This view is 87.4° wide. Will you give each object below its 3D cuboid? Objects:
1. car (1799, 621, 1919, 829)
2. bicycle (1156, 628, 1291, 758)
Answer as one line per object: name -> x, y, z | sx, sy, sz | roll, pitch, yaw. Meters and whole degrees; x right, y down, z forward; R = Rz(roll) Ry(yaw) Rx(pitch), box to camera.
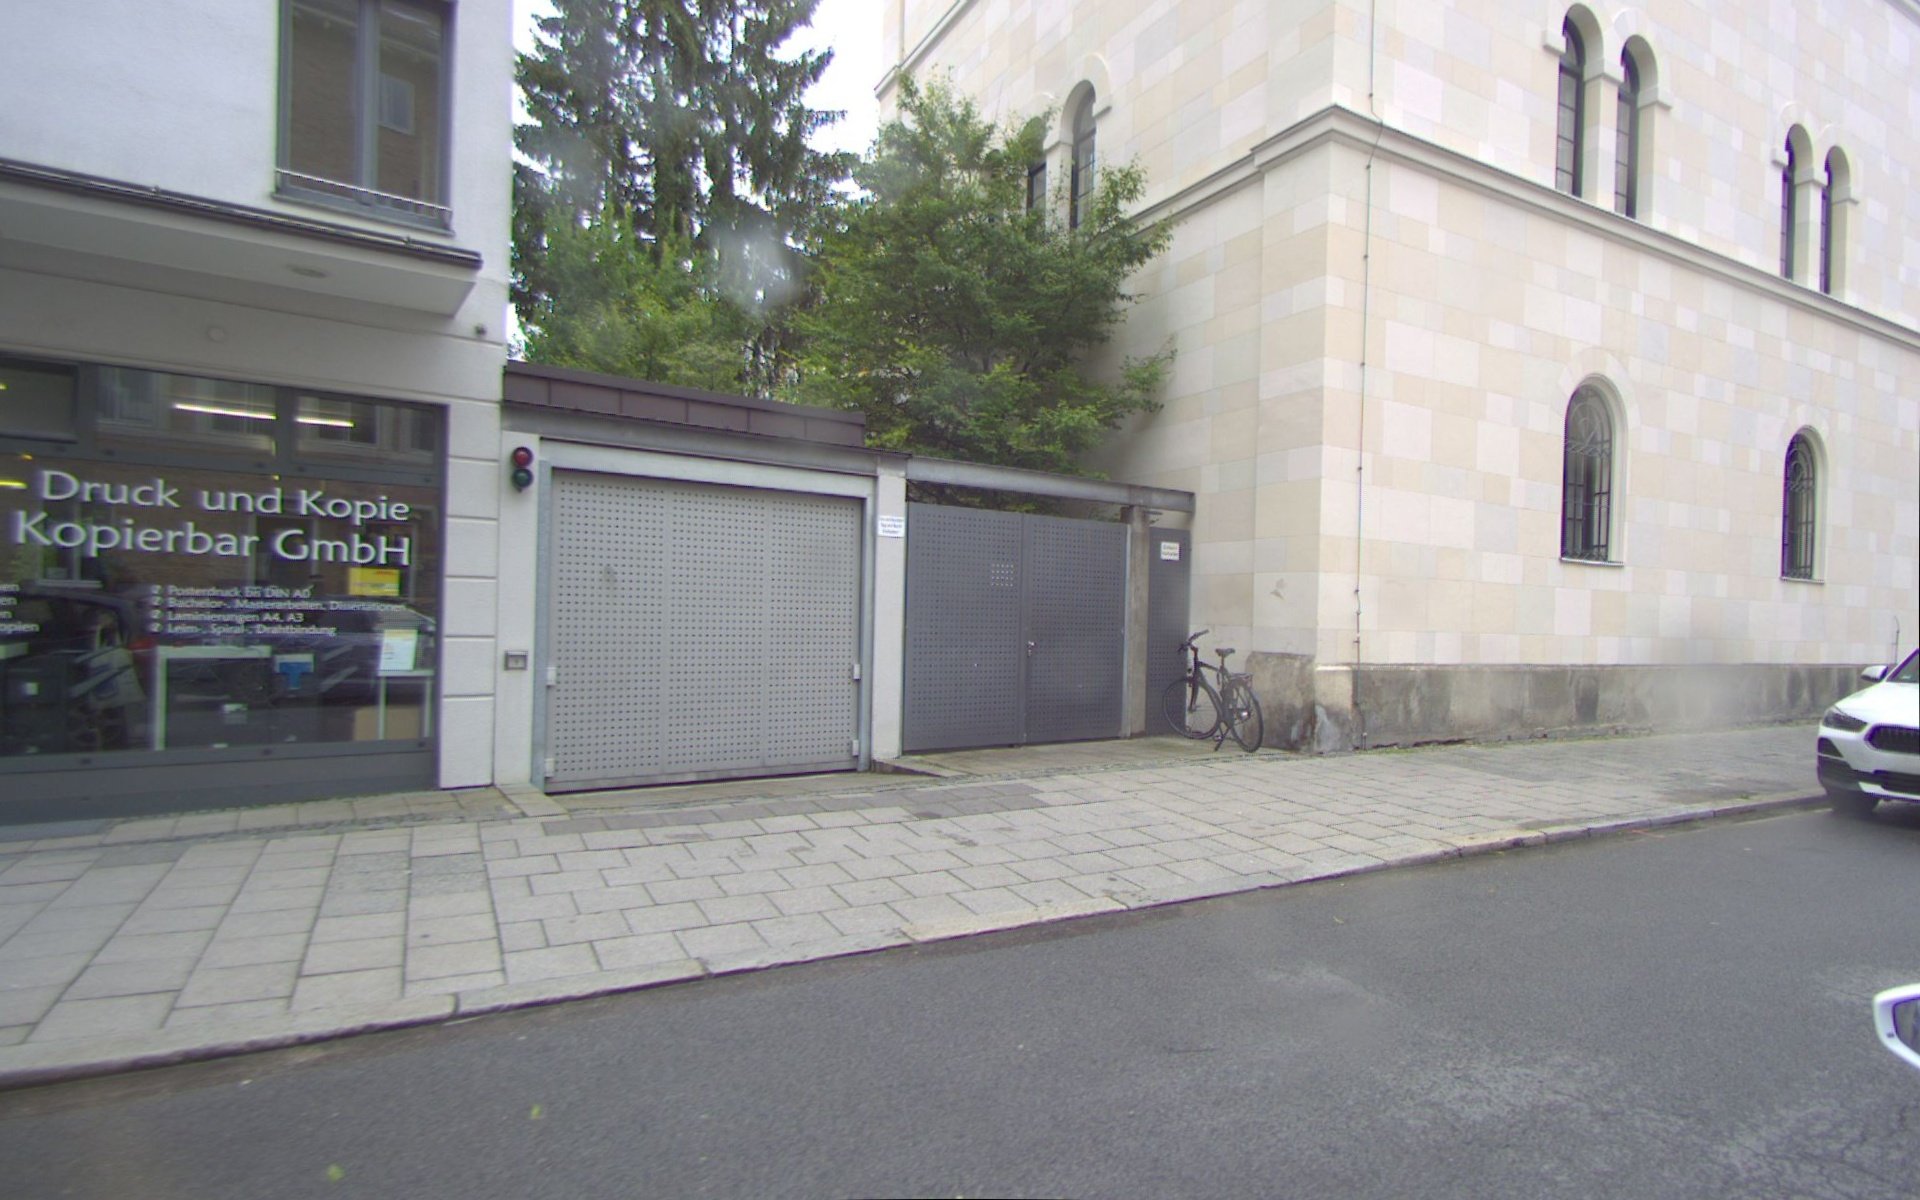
car -> 9.033, 1.003, 8.430 | 4.162, 1.555, 1.770 | 2, -2, -30
bicycle -> 2.671, 0.908, 10.371 | 0.468, 1.193, 1.710 | 1, -1, -19
